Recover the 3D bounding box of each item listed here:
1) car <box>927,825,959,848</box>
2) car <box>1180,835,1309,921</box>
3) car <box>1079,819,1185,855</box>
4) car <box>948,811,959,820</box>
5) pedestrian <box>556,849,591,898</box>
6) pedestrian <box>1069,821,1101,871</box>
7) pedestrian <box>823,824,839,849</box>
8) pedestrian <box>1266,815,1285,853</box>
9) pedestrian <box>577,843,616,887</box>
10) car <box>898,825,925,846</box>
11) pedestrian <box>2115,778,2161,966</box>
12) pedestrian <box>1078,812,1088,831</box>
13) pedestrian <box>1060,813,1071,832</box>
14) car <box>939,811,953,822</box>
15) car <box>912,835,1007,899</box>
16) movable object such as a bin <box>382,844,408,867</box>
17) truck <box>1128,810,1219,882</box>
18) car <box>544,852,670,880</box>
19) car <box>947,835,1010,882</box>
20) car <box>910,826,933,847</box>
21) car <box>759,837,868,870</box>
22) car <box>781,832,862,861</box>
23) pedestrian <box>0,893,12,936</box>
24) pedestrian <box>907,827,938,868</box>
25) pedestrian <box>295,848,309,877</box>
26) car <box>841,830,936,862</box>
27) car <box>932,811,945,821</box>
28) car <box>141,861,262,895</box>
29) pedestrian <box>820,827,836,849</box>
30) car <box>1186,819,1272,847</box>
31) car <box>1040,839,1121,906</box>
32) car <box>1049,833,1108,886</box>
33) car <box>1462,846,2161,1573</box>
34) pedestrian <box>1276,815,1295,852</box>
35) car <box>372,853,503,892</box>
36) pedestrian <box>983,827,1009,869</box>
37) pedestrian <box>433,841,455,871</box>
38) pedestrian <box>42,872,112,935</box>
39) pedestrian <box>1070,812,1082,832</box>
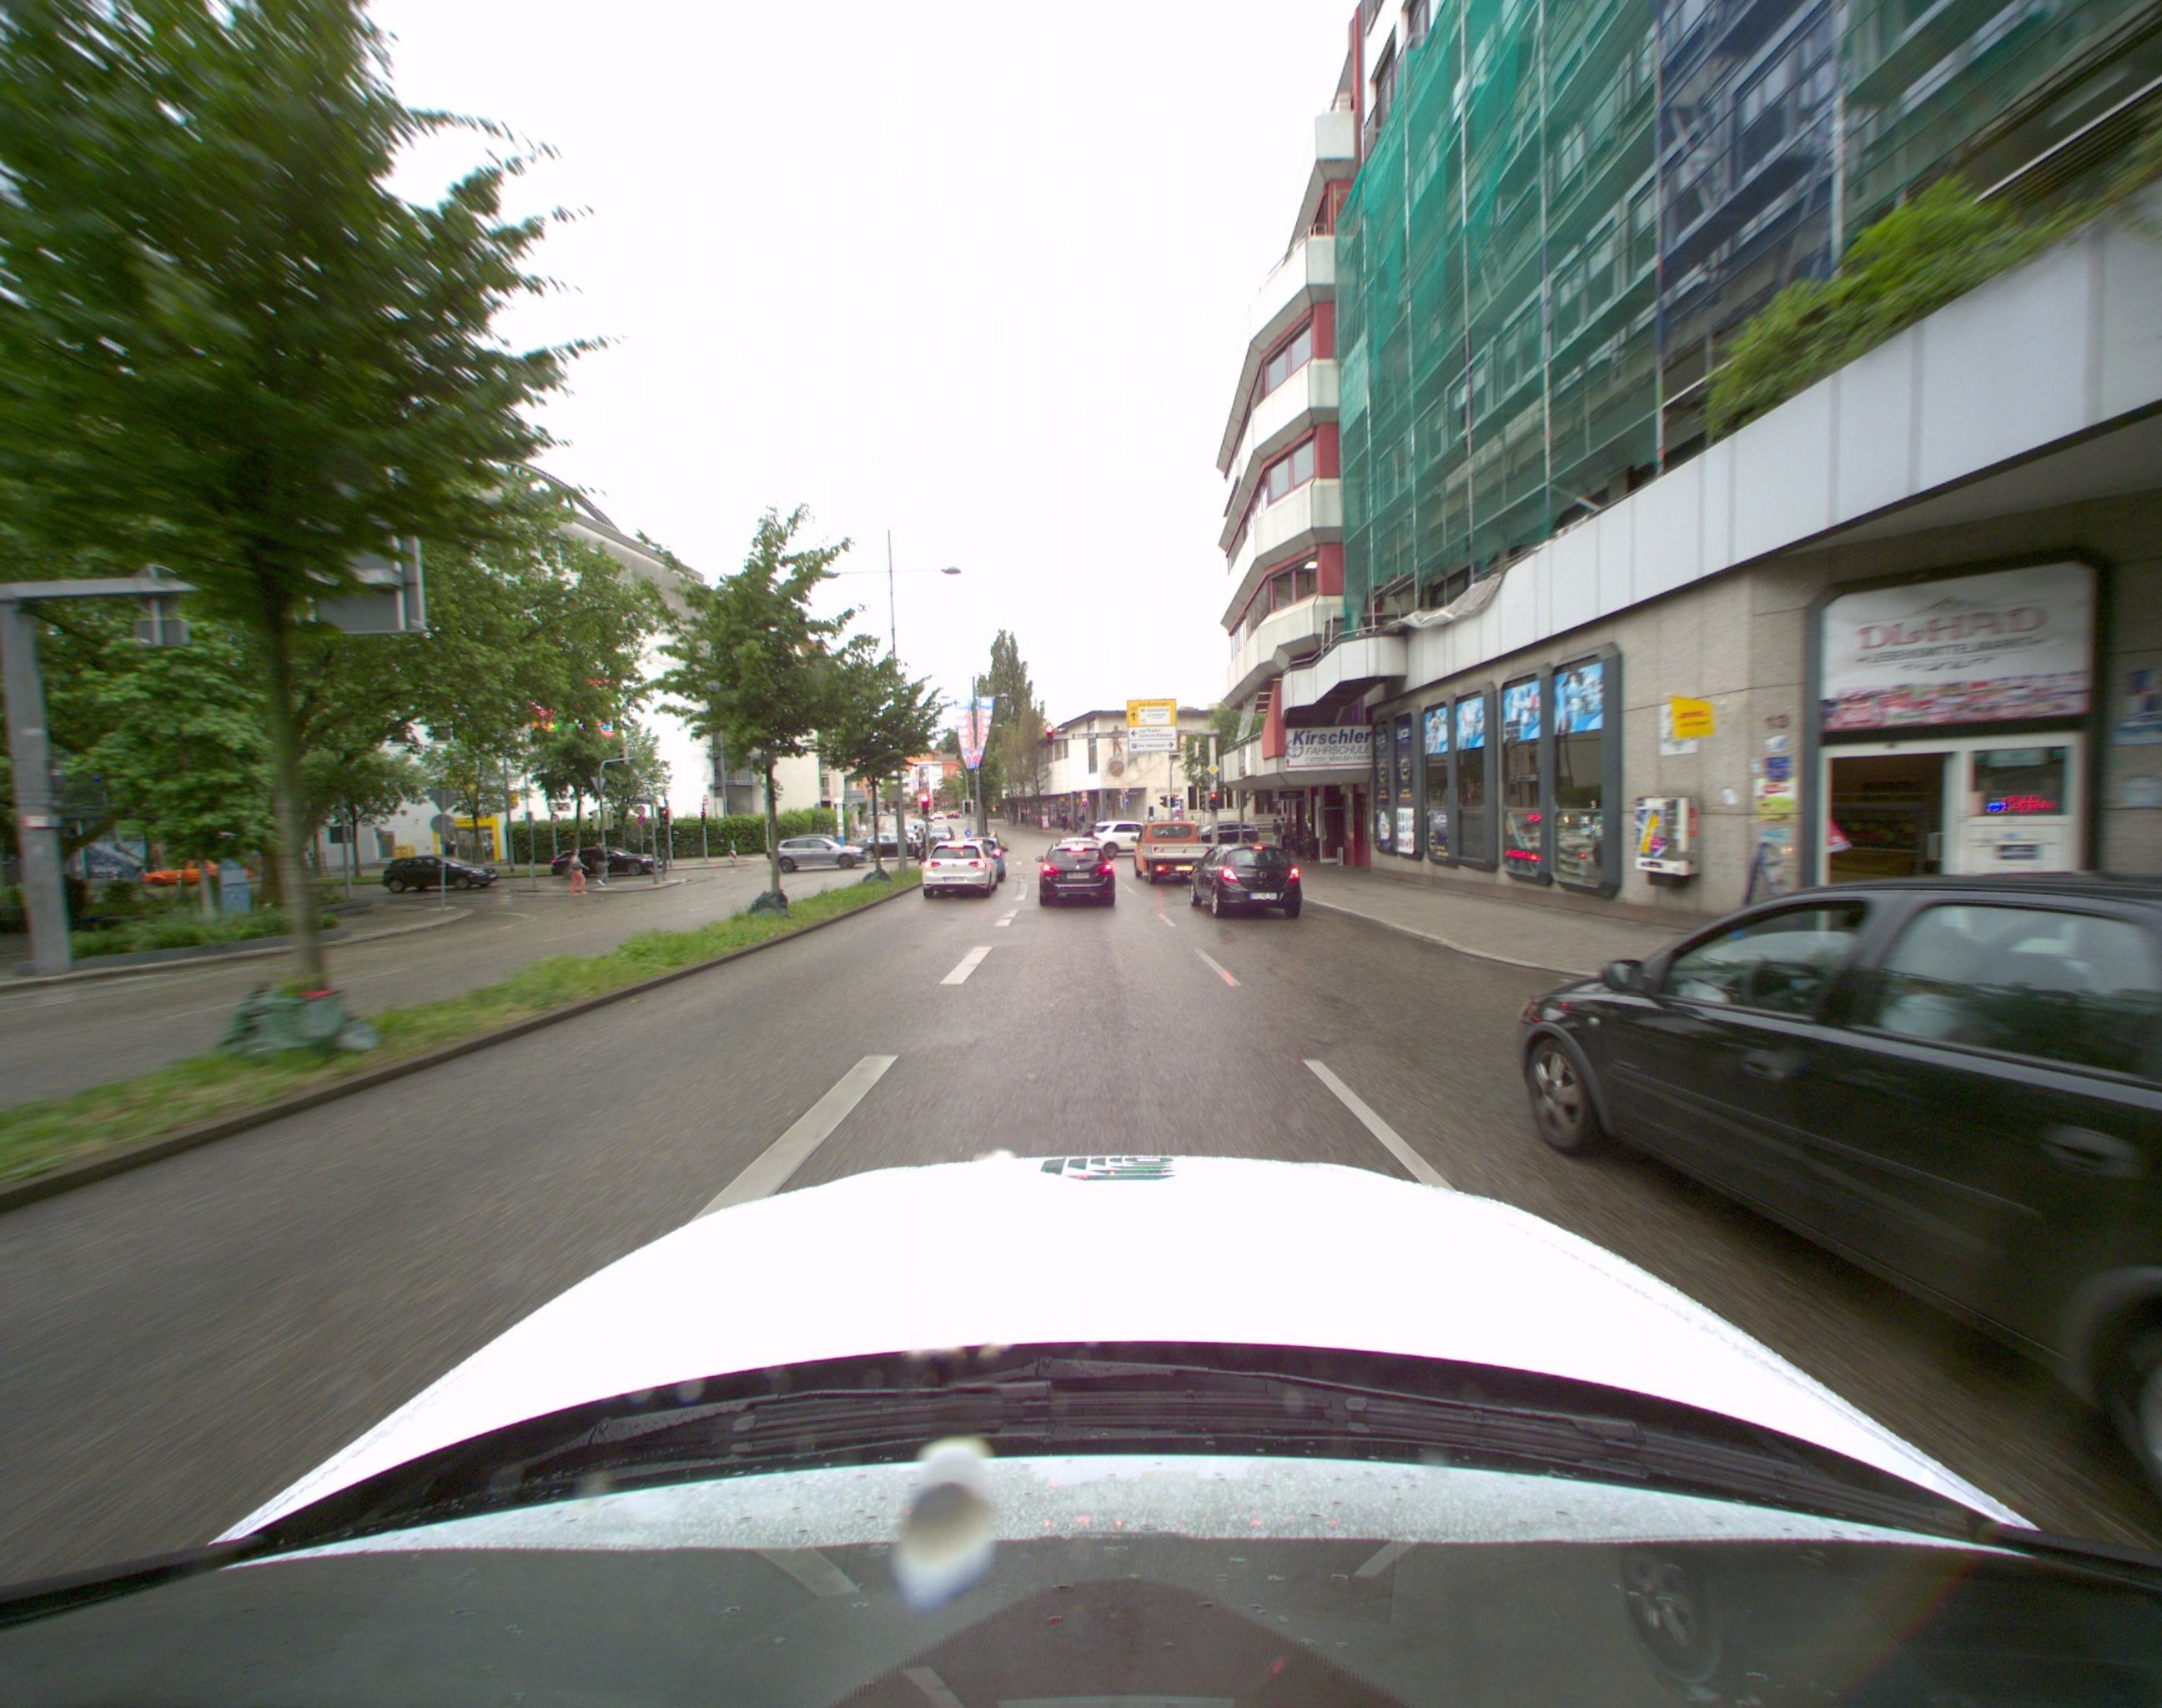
[{"bbox_3d":[-9.953,-1.269,58.846,1.816,1.549,3.995,-2,1,-4],"label":"car"},{"bbox_3d":[3.323,0.414,17.339,1.943,1.574,4.000,-1,1,0],"label":"car"},{"bbox_3d":[2.591,-0.876,41.646,5.074,1.759,1.992,0,0,-12],"label":"car"},{"bbox_3d":[-24.779,-7.368,157.937,1.834,1.588,3.856,-2,1,-13],"label":"car"},{"bbox_3d":[-18.843,0.717,30.249,0.883,1.779,0.698,-3,1,-45],"label":"pedestrian"},{"bbox_3d":[0.164,-0.317,32.166,1.057,1.881,0.840,-3,1,7],"label":"pedestrian"},{"bbox_3d":[-19.164,-1.350,62.497,0.910,1.802,0.620,-3,1,-40],"label":"pedestrian"},{"bbox_3d":[8.960,-0.898,37.478,0.575,1.699,0.649,-3,1,-9],"label":"pedestrian"},{"bbox_3d":[-19.548,0.452,32.851,0.802,1.708,1.063,-2,1,39],"label":"pedestrian"},{"bbox_3d":[-13.582,-1.481,65.531,1.776,1.549,3.989,-2,1,-8],"label":"car"},{"bbox_3d":[10.355,0.189,7.390,0.715,1.721,0.770,-1,8,2],"label":"pedestrian"},{"bbox_3d":[0.165,-3.079,77.290,0.703,1.802,0.934,-3,1,-14],"label":"pedestrian"},{"bbox_3d":[-1.484,-2.990,77.293,0.799,1.802,0.913,-3,1,-14],"label":"pedestrian"},{"bbox_3d":[-27.381,-7.636,164.841,2.002,2.013,3.971,-2,1,-22],"label":"car"},{"bbox_3d":[-3.258,0.288,22.599,1.943,1.574,4.001,-1,1,1],"label":"car"},{"bbox_3d":[-44.868,0.115,53.259,1.106,1.446,0.602,-3,1,4],"label":"movable object such as a bin"},{"bbox_3d":[2.940,-0.290,27.180,2.178,2.082,5.599,-2,1,-2],"label":"truck"},{"bbox_3d":[-23.071,0.582,39.854,5.000,1.272,1.758,0,0,-12],"label":"car"},{"bbox_3d":[-3.495,0.107,28.424,1.789,1.468,3.997,-1,1,-2],"label":"car"},{"bbox_3d":[-14.149,-1.550,72.244,1.704,1.720,3.989,-2,1,-8],"label":"car"},{"bbox_3d":[-12.444,-0.027,38.155,4.594,1.482,1.934,0,0,-12],"label":"car"},{"bbox_3d":[-14.801,-0.443,46.626,3.978,1.527,1.845,-2,1,-3],"label":"car"},{"bbox_3d":[-32.750,1.851,24.166,0.954,1.272,0.753,-3,1,-26],"label":"pedestrian"},{"bbox_3d":[-6.791,-0.280,34.994,1.005,1.722,0.840,-3,1,5],"label":"pedestrian"},{"bbox_3d":[-46.847,0.502,48.985,0.509,1.709,0.610,-3,1,-41],"label":"pedestrian"},{"bbox_3d":[-10.209,-0.447,43.121,4.700,1.643,1.774,-1,0,-21],"label":"car"},{"bbox_3d":[-27.367,-7.274,156.462,1.997,1.596,3.980,-2,1,-15],"label":"car"},{"bbox_3d":[-46.313,1.254,42.977,3.998,1.616,1.768,-2,0,-11],"label":"car"},{"bbox_3d":[-18.938,-1.171,60.992,0.931,1.608,0.557,-3,1,-40],"label":"pedestrian"},{"bbox_3d":[8.442,-1.193,46.533,4.401,1.436,1.992,-2,1,-13],"label":"car"},{"bbox_3d":[-0.110,0.371,20.178,1.808,1.440,3.996,0,2,-3],"label":"car"},{"bbox_3d":[-0.134,0.115,26.500,1.756,1.542,3.998,-1,2,-2],"label":"car"},{"bbox_3d":[3.064,0.709,2.900,1.710,1.420,3.771,-2,1,1],"label":"car"},{"bbox_3d":[9.544,-0.939,37.991,0.576,1.699,0.648,-3,1,-13],"label":"pedestrian"},{"bbox_3d":[-28.203,0.773,35.825,3.988,1.512,1.921,-2,1,-11],"label":"car"},{"bbox_3d":[-3.598,-0.259,34.470,0.831,1.722,0.820,-3,1,7],"label":"pedestrian"},{"bbox_3d":[-39.137,0.111,50.028,0.613,1.778,0.832,-3,1,0],"label":"pedestrian"},{"bbox_3d":[-28.771,1.406,23.344,0.752,1.722,0.955,-3,1,14],"label":"pedestrian"},{"bbox_3d":[-0.507,-3.025,76.877,0.847,1.802,1.051,-3,1,-14],"label":"pedestrian"}]
